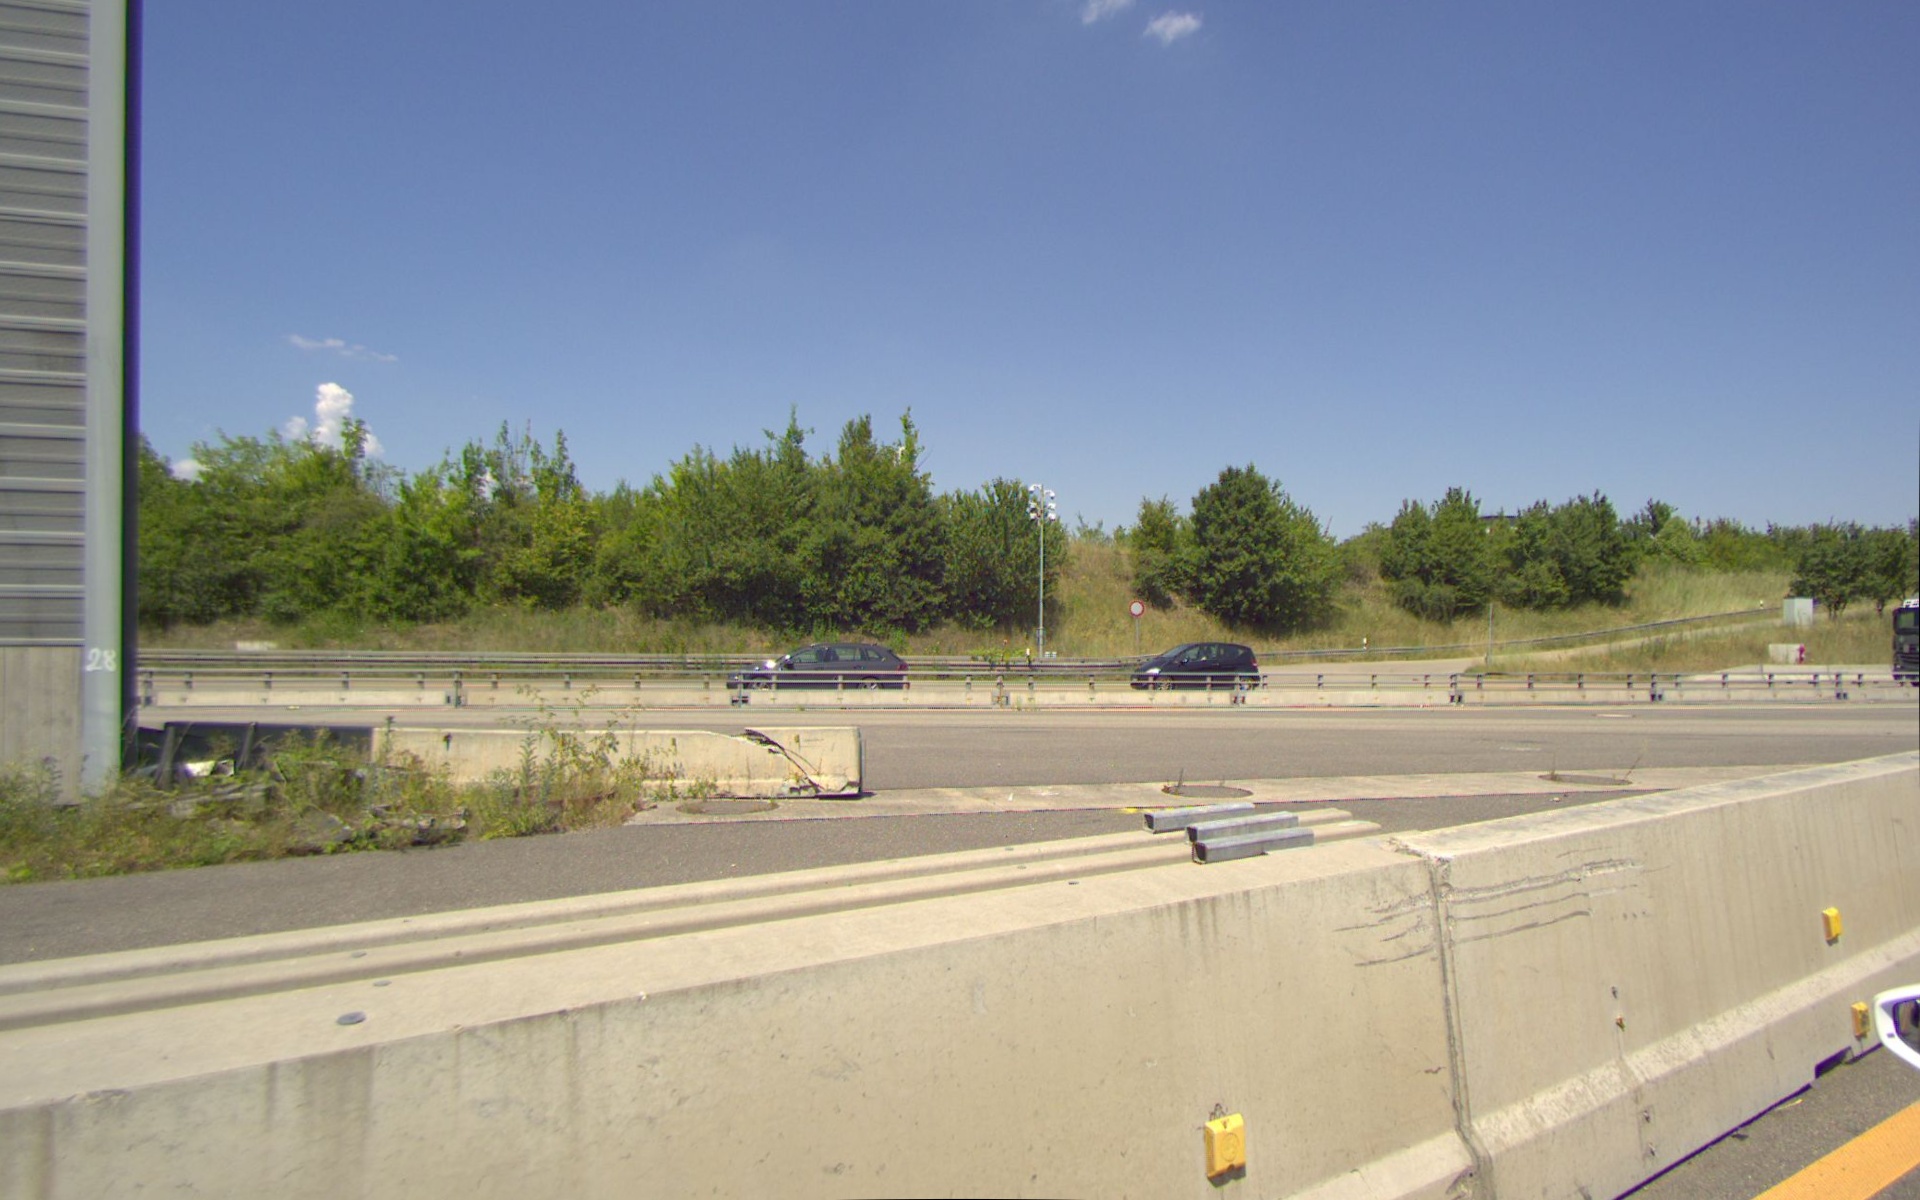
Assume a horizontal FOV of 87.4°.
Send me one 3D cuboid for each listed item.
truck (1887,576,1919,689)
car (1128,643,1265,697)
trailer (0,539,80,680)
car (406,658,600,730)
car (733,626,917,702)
[{"bbox_3d":[39.210,1.285,38.998,4.753,4.326,2.434,1,-1,-12],"label":"truck"},{"bbox_3d":[7.114,2.111,30.353,3.623,1.511,1.718,1,-1,-12],"label":"car"},{"bbox_3d":[-36.340,0.077,31.262,13.651,4.327,3.553,2,0,-8],"label":"trailer"},{"bbox_3d":[-11.357,2.332,25.227,4.096,1.645,1.718,1,-1,-11],"label":"car"},{"bbox_3d":[-3.369,1.588,25.118,4.372,1.753,1.700,1,-1,-11],"label":"car"}]
